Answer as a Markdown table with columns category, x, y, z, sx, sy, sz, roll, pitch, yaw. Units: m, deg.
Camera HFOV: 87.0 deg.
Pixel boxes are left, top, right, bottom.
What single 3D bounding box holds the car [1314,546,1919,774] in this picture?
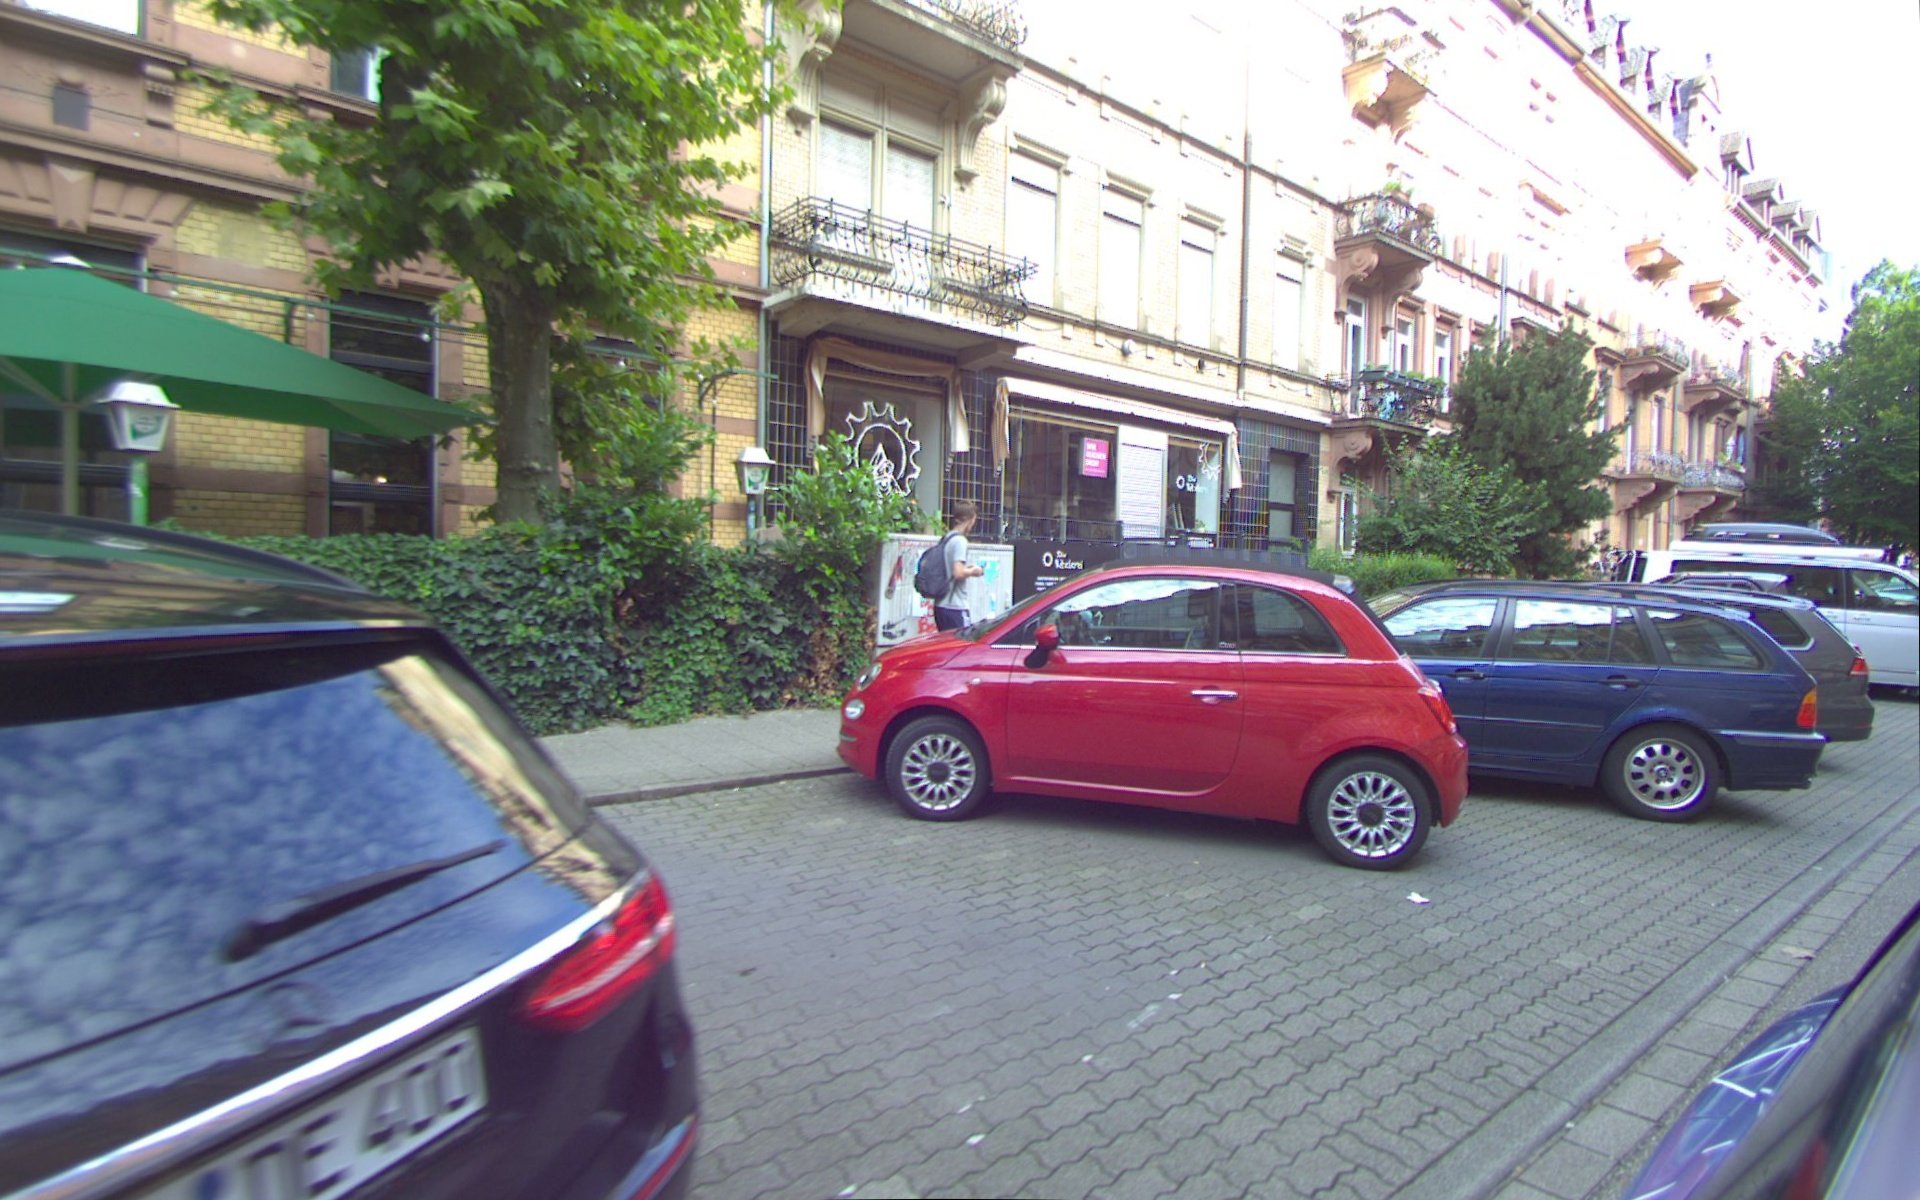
| category | x | y | z | sx | sy | sz | roll | pitch | yaw |
| --- | --- | --- | --- | --- | --- | --- | --- | --- | --- |
| car | 5.749 | 0.425 | 9.259 | 4.400 | 1.495 | 1.883 | 5 | 2 | 12 |

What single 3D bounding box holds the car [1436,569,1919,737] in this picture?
| category | x | y | z | sx | sy | sz | roll | pitch | yaw |
| --- | --- | --- | --- | --- | --- | --- | --- | --- | --- |
| car | 7.659 | 0.489 | 11.172 | 3.930 | 1.477 | 1.746 | 3 | 2 | 10 |

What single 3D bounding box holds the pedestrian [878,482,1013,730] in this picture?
| category | x | y | z | sx | sy | sz | roll | pitch | yaw |
| --- | --- | --- | --- | --- | --- | --- | --- | --- | --- |
| pedestrian | -0.131 | 0.028 | 8.308 | 0.709 | 1.901 | 0.842 | 1 | 2 | -35 |

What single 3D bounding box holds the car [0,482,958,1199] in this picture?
| category | x | y | z | sx | sy | sz | roll | pitch | yaw |
| --- | --- | --- | --- | --- | --- | --- | --- | --- | --- |
| car | -2.589 | 0.498 | 1.878 | 4.717 | 1.474 | 2.041 | 4 | 2 | 23 |

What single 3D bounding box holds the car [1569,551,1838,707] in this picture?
| category | x | y | z | sx | sy | sz | roll | pitch | yaw |
| --- | --- | --- | --- | --- | --- | --- | --- | --- | --- |
| car | 9.492 | 0.316 | 13.127 | 2.444 | 1.686 | 1.335 | 6 | 2 | 25 |

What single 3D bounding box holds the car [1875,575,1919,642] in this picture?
| category | x | y | z | sx | sy | sz | roll | pitch | yaw |
| --- | --- | --- | --- | --- | --- | --- | --- | --- | --- |
| car | 27.678 | 0.311 | 27.287 | 3.951 | 1.762 | 1.828 | 3 | 2 | 20 |

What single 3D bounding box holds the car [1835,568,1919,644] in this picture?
| category | x | y | z | sx | sy | sz | roll | pitch | yaw |
| --- | --- | --- | --- | --- | --- | --- | --- | --- | --- |
| car | 25.520 | 0.223 | 25.824 | 4.349 | 1.844 | 1.745 | 4 | 3 | 20 |

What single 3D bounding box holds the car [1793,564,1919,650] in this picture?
| category | x | y | z | sx | sy | sz | roll | pitch | yaw |
| --- | --- | --- | --- | --- | --- | --- | --- | --- | --- |
| car | 22.371 | 0.254 | 23.240 | 1.777 | 1.806 | 4.649 | 3 | 3 | -40 |

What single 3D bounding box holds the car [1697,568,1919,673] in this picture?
| category | x | y | z | sx | sy | sz | roll | pitch | yaw |
| --- | --- | --- | --- | --- | --- | --- | --- | --- | --- |
| car | 16.271 | 0.353 | 18.212 | 4.396 | 1.754 | 1.990 | 1 | 1 | 16 |

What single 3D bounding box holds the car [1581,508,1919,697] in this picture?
| category | x | y | z | sx | sy | sz | roll | pitch | yaw |
| --- | --- | --- | --- | --- | --- | --- | --- | --- | --- |
| car | 12.206 | -0.004 | 14.598 | 5.093 | 2.434 | 1.907 | 3 | 2 | 18 |

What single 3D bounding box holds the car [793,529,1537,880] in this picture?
| category | x | y | z | sx | sy | sz | roll | pitch | yaw |
| --- | --- | --- | --- | --- | --- | --- | --- | --- | --- |
| car | 1.069 | 0.439 | 6.020 | 3.664 | 1.503 | 1.735 | 3 | 2 | 13 |

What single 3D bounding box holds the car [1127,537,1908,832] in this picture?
| category | x | y | z | sx | sy | sz | roll | pitch | yaw |
| --- | --- | --- | --- | --- | --- | --- | --- | --- | --- |
| car | 3.583 | 0.434 | 7.404 | 4.408 | 1.482 | 1.870 | 4 | 2 | 17 |
